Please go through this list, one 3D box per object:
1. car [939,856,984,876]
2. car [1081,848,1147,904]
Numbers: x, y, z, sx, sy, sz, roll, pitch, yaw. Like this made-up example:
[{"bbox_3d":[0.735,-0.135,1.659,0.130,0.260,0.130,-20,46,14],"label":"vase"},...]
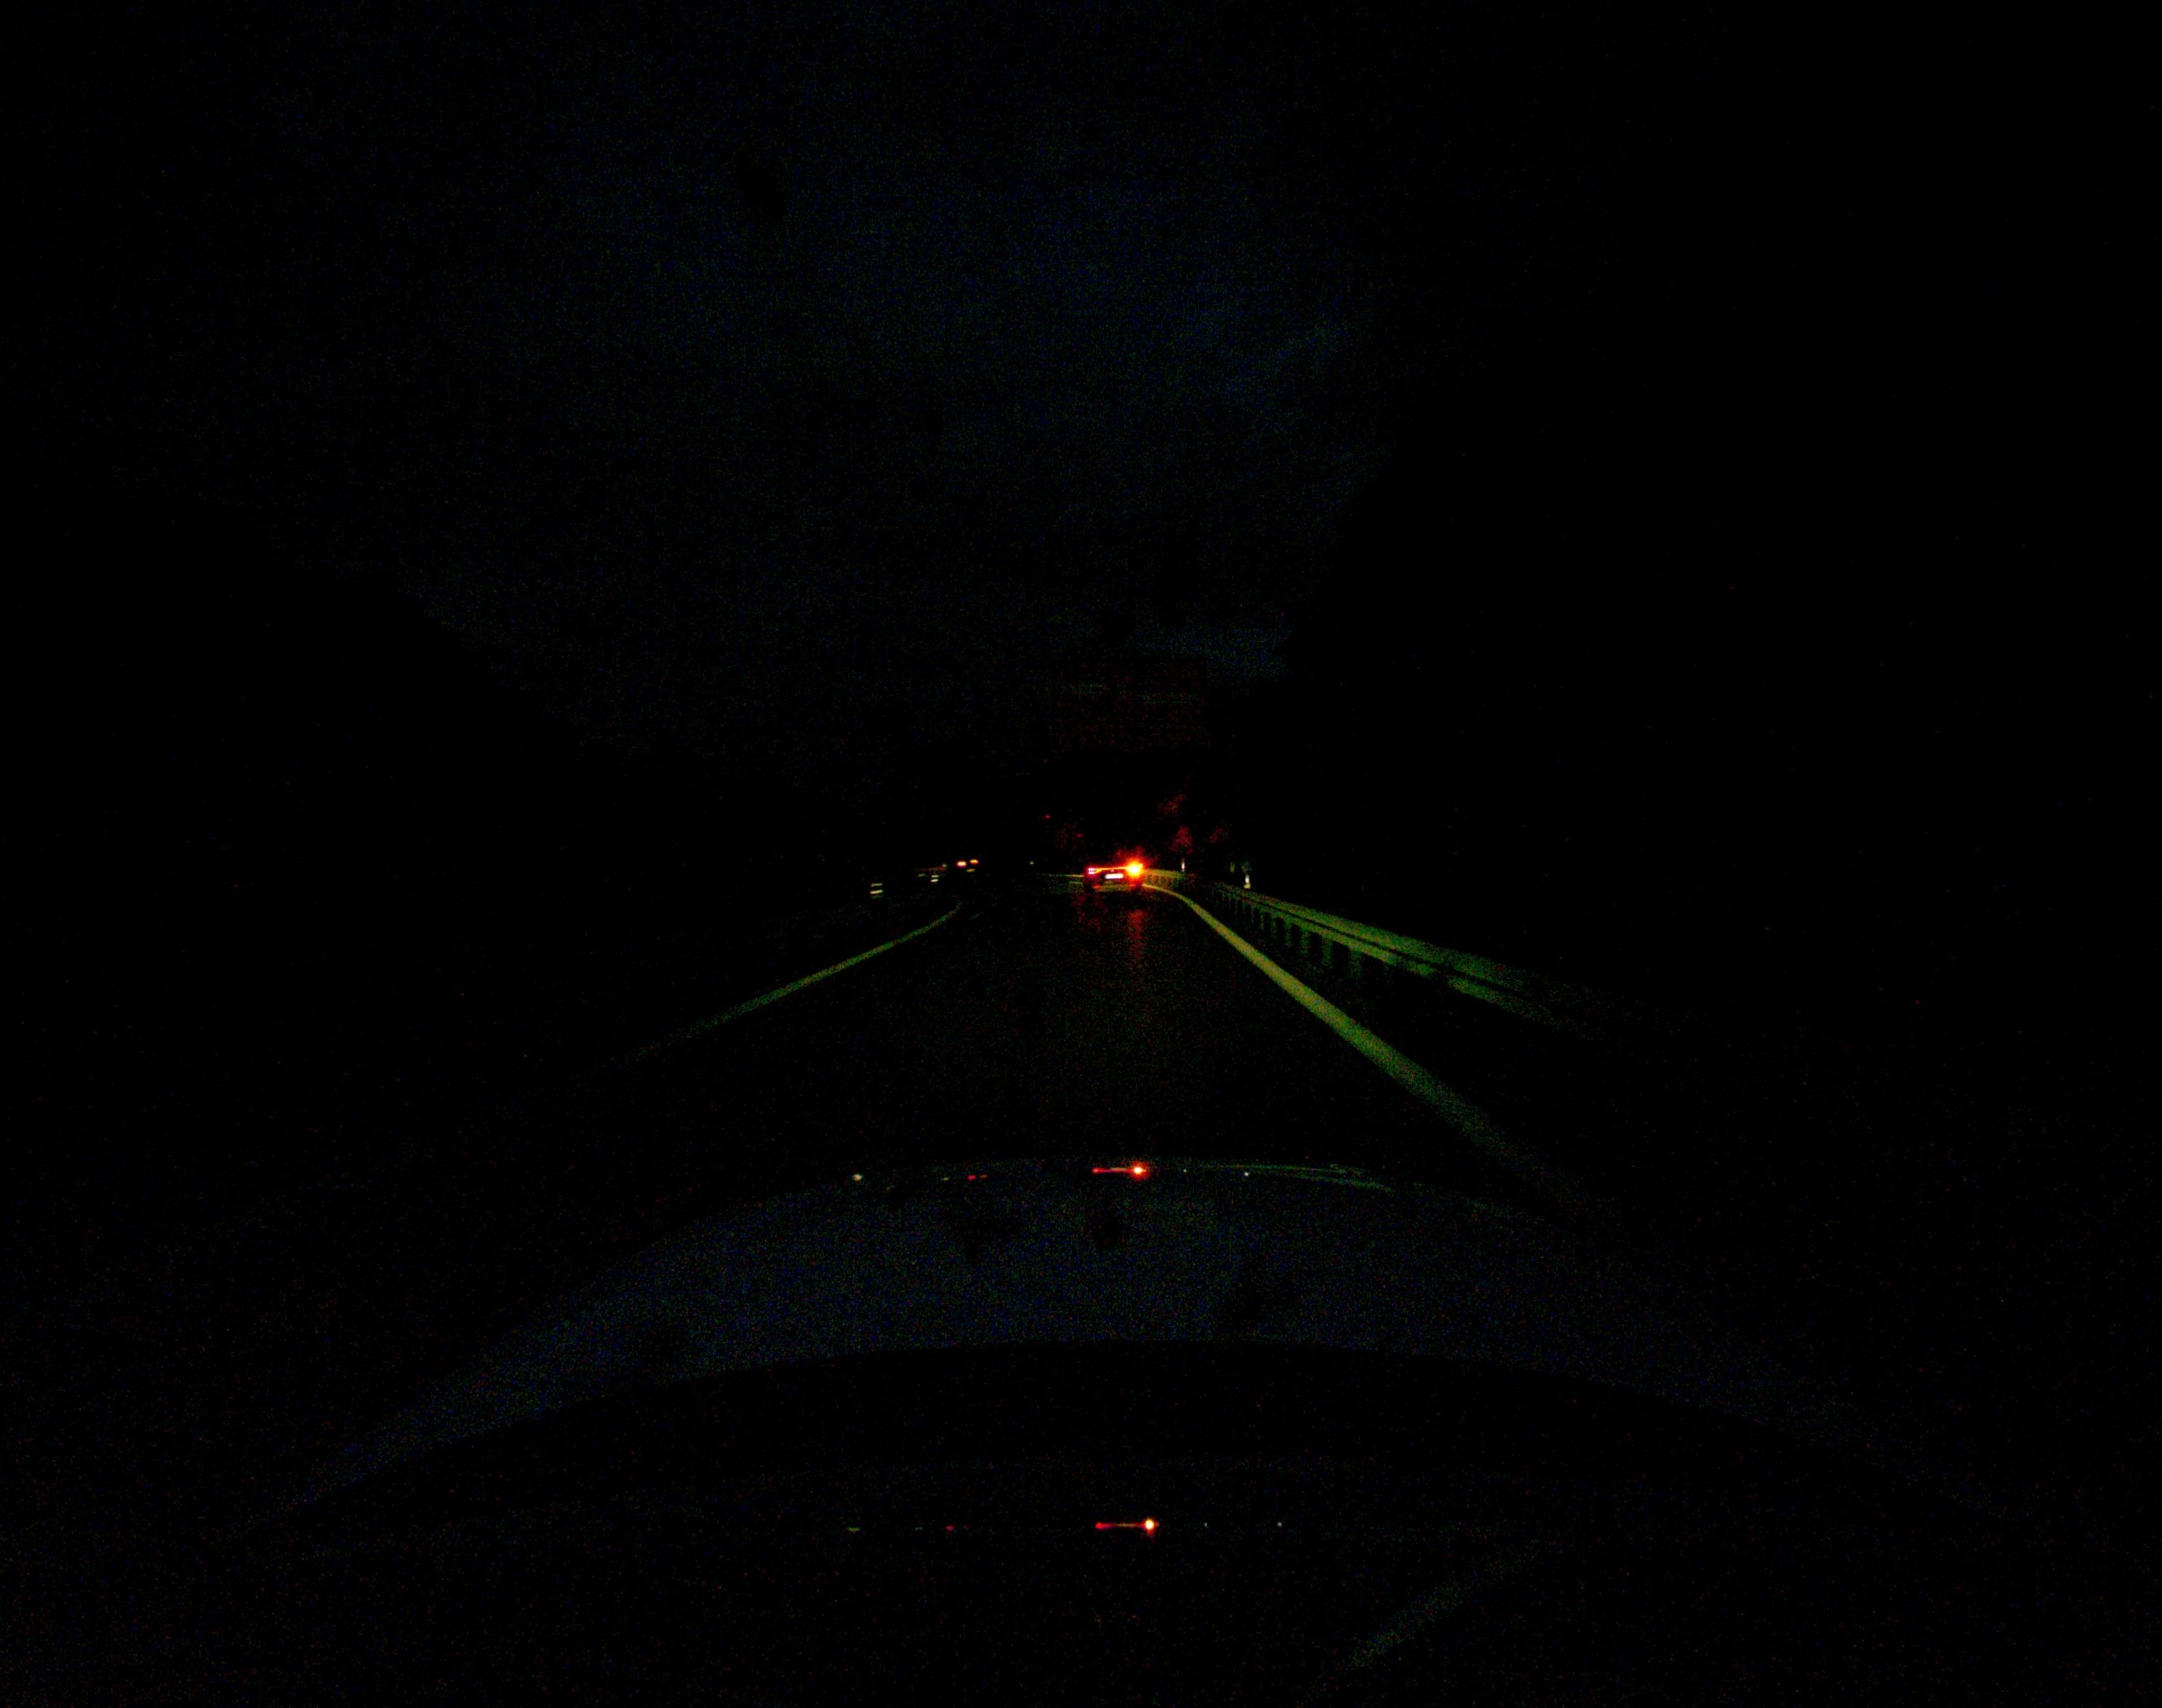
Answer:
[{"bbox_3d":[-10.158,0.989,69.213,2.010,1.598,3.954,1,0,-39],"label":"car"},{"bbox_3d":[1.114,0.690,27.475,1.986,1.659,4.317,-2,0,2],"label":"car"}]
